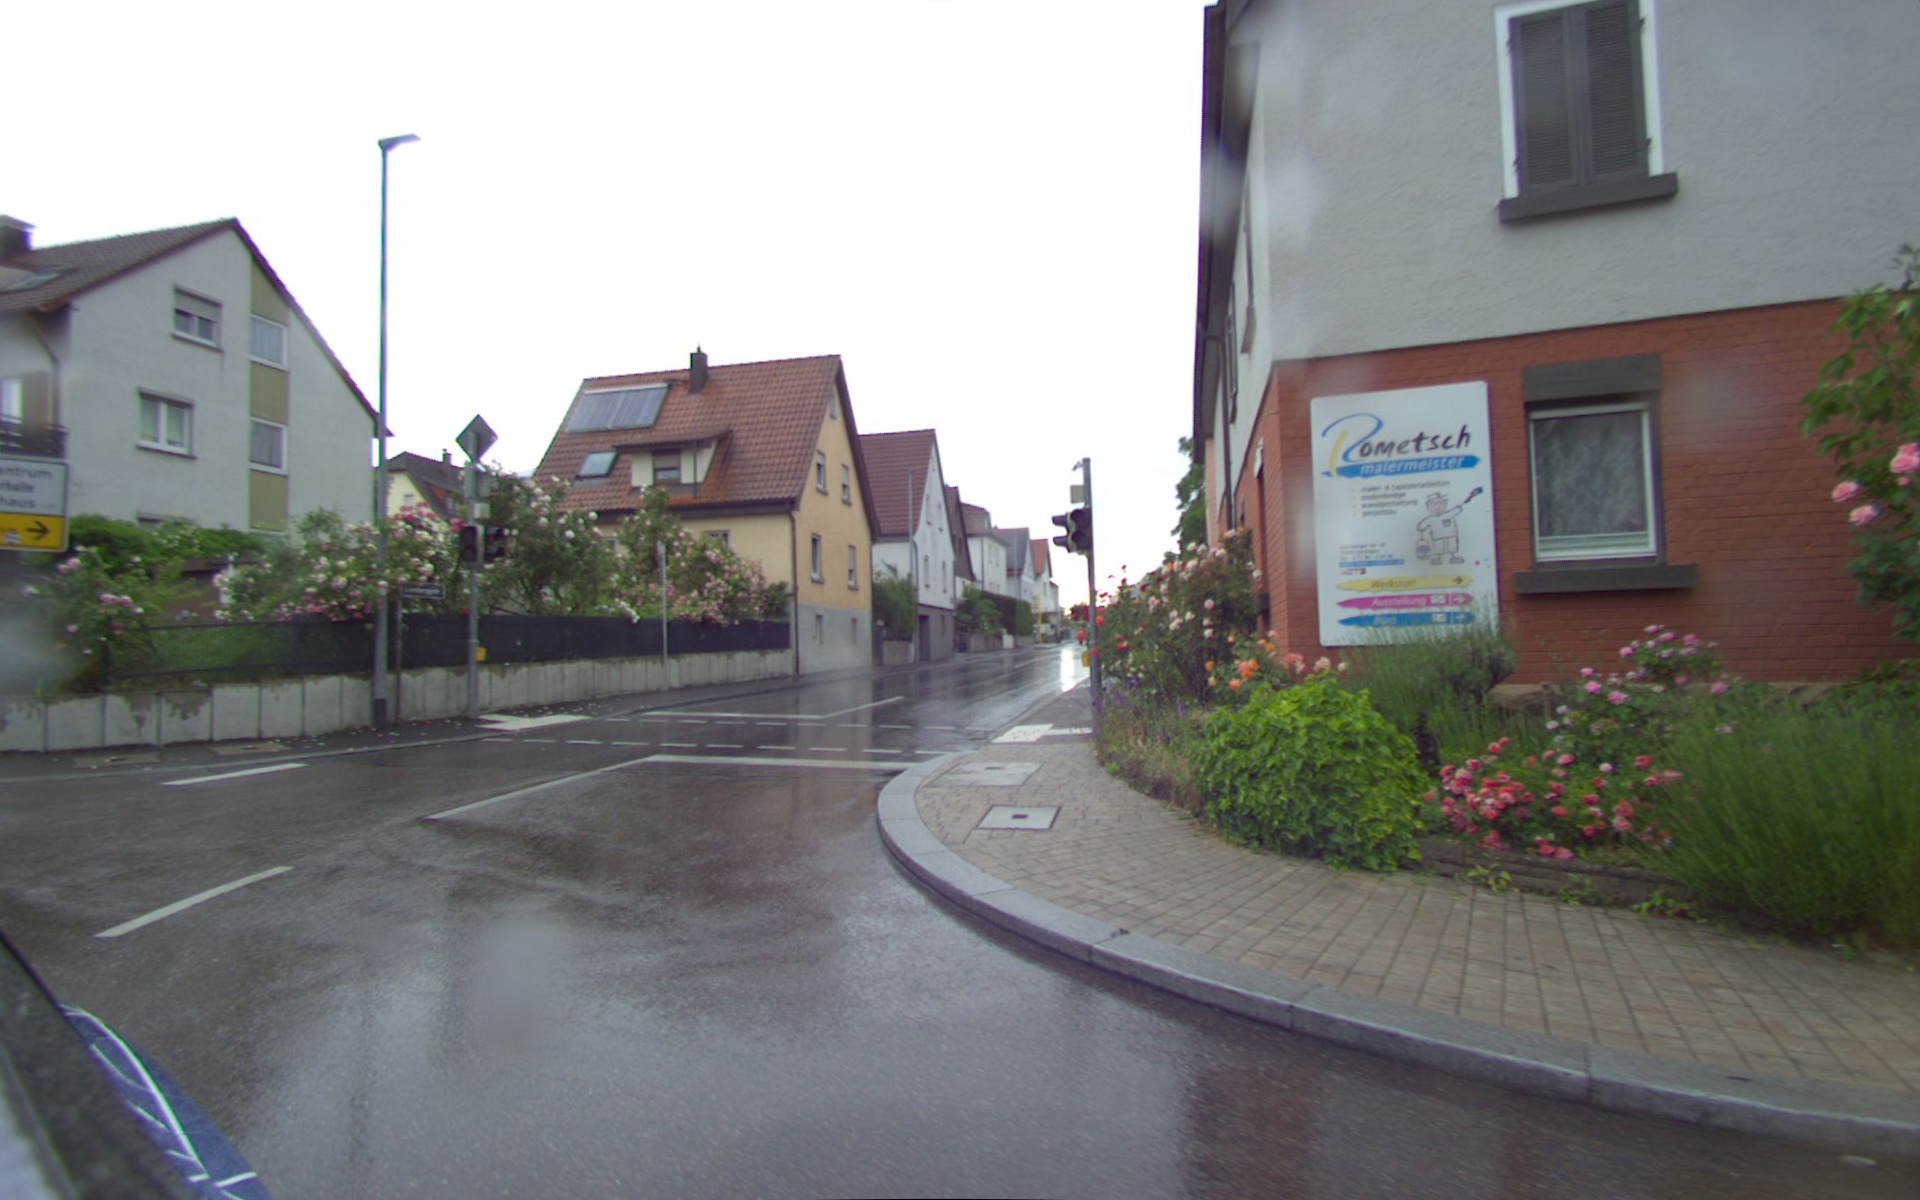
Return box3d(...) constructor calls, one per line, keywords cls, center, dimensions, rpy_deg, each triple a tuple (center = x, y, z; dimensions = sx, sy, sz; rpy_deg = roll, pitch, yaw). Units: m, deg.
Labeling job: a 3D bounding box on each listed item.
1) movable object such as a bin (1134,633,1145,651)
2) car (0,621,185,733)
box3d(cls="movable object such as a bin", center=(11.578, 2.713, 65.179), dimensions=(0.549, 1.091, 0.525), rpy_deg=(-5, -3, 14))
box3d(cls="car", center=(-14.545, 1.153, 15.539), dimensions=(1.704, 1.611, 3.983), rpy_deg=(0, -3, 13))
